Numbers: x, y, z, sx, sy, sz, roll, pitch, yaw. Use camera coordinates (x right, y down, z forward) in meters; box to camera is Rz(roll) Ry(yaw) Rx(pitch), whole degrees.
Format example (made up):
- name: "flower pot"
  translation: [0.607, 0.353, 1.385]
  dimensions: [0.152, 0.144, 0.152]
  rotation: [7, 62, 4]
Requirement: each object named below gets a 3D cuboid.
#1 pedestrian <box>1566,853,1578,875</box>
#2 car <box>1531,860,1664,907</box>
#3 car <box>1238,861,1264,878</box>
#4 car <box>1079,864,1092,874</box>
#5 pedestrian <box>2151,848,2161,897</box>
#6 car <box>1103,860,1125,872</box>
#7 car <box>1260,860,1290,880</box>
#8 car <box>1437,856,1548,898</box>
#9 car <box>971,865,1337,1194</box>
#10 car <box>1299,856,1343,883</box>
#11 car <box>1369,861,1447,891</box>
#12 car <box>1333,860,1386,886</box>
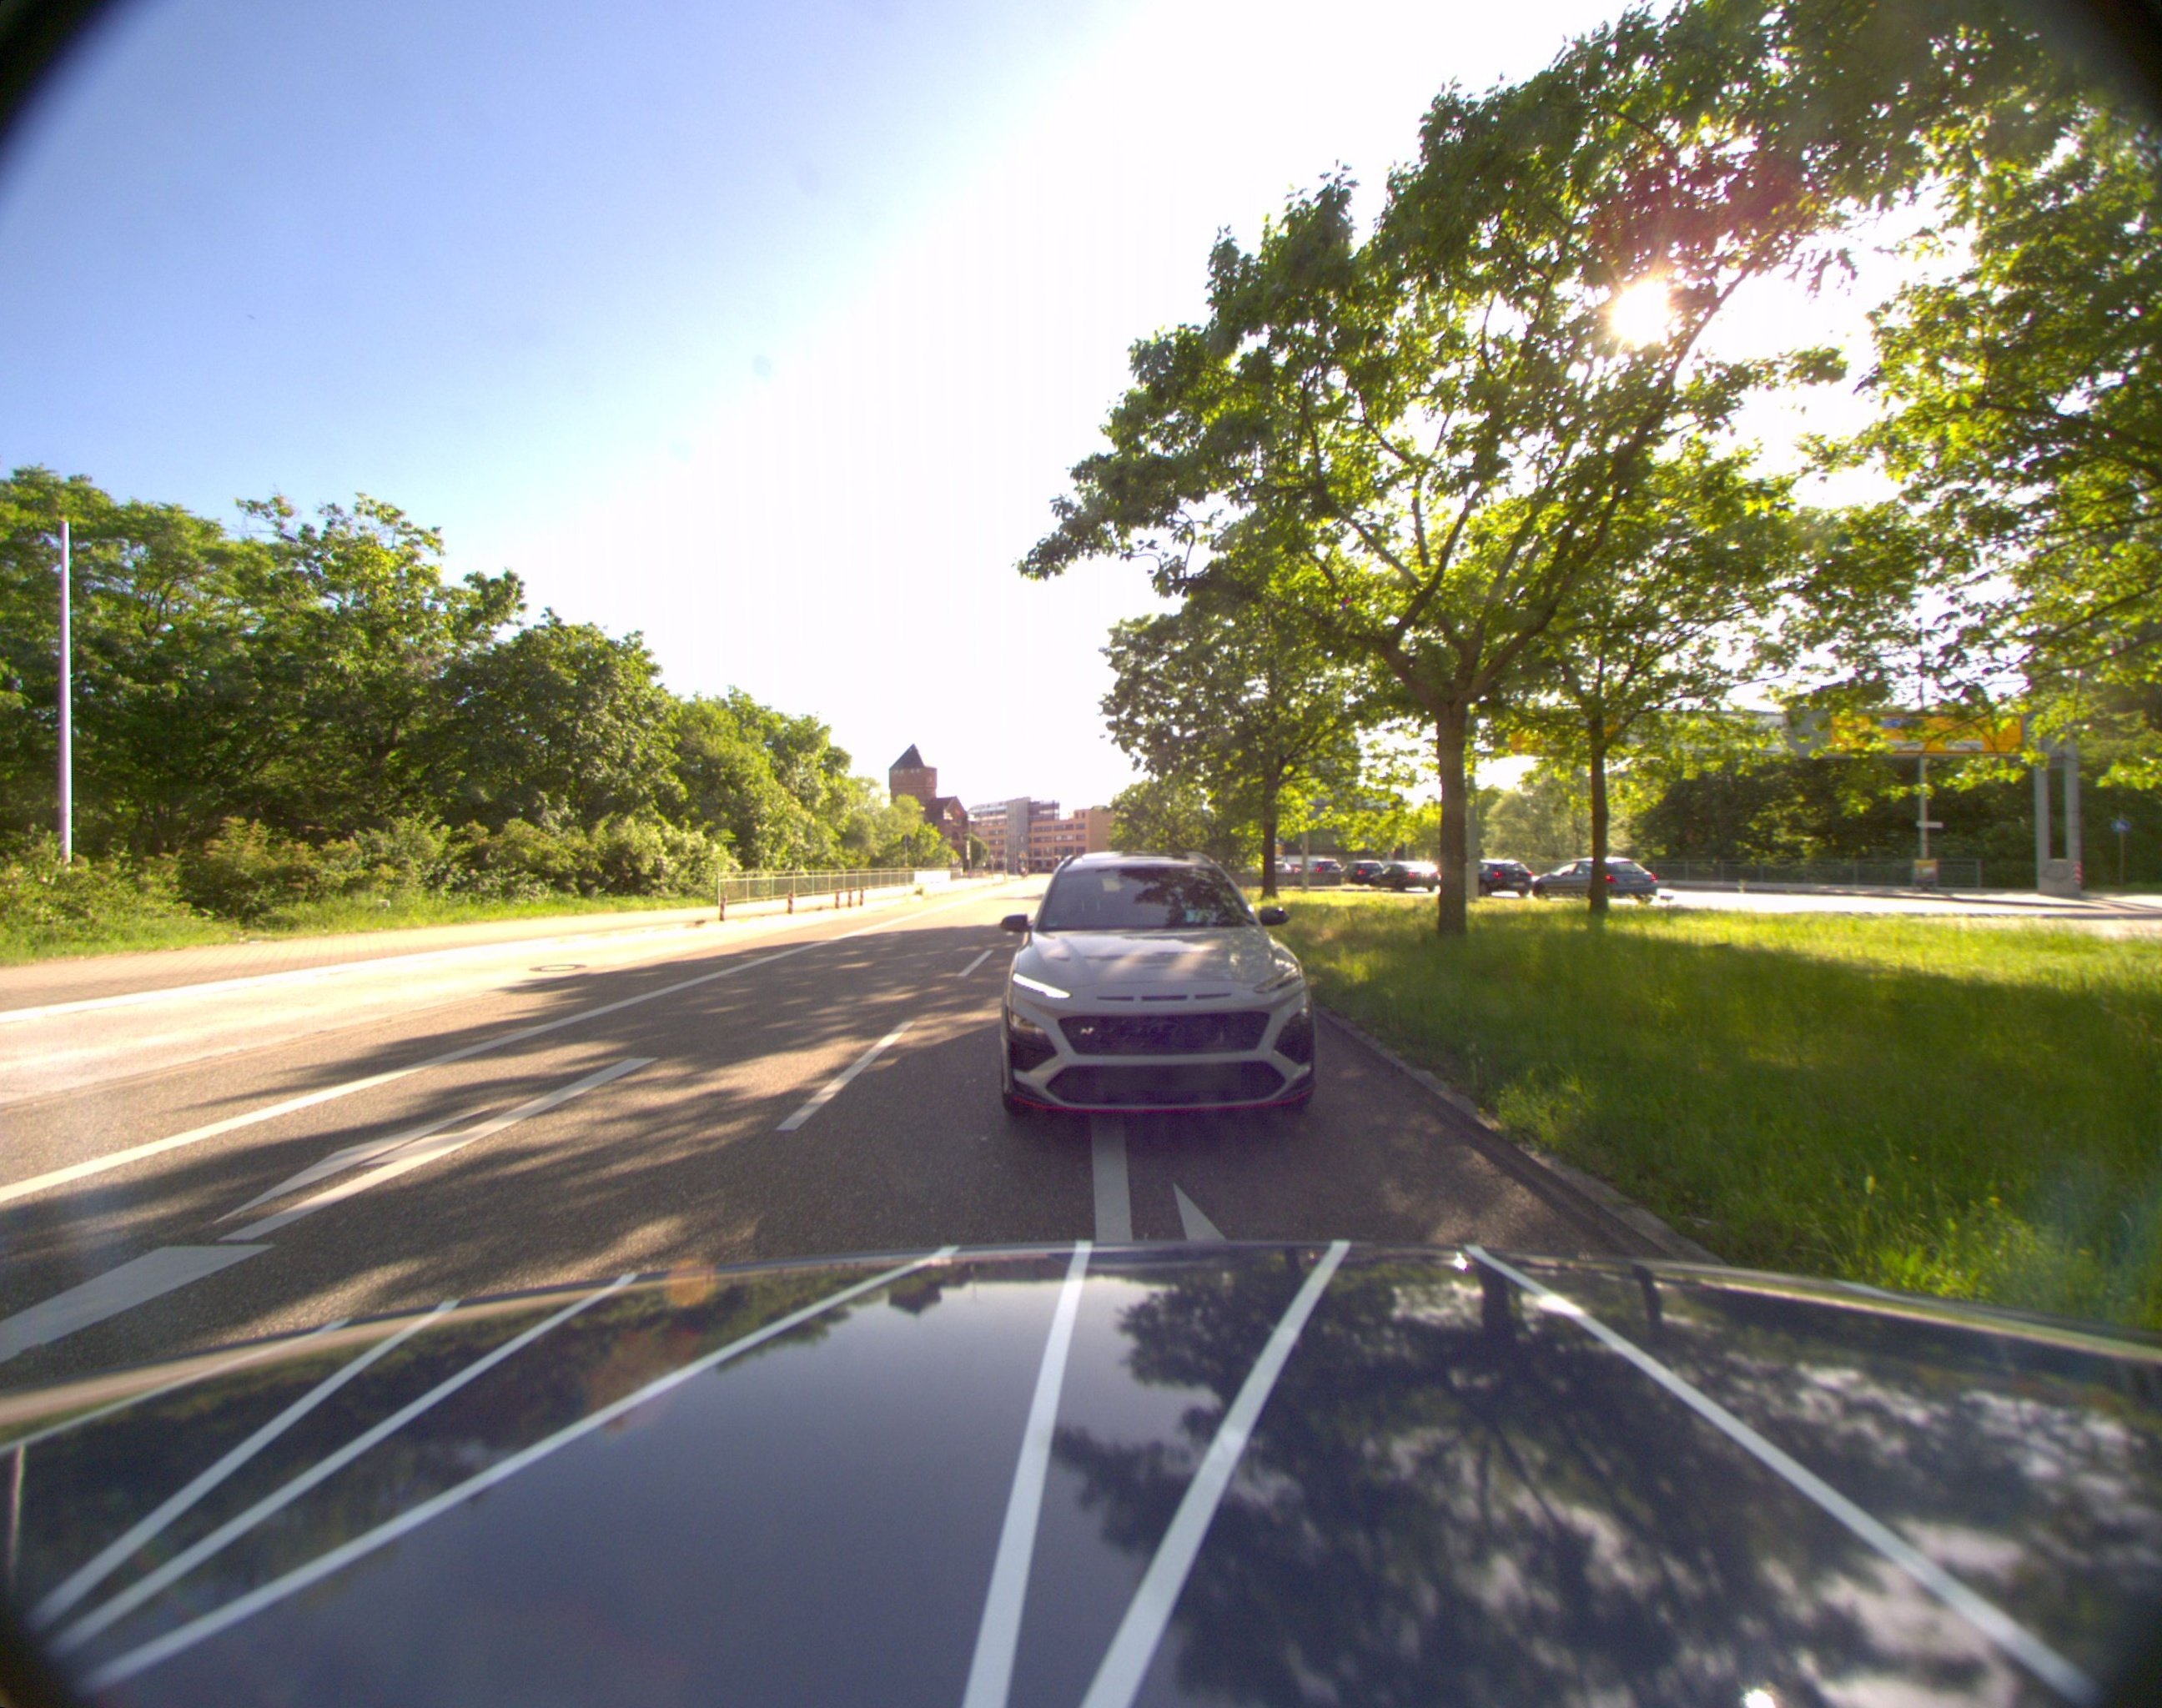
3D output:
- name: "pedestrian"
  translation: [32.746, 0.662, 50.647]
  dimensions: [0.421, 1.490, 0.545]
  rotation: [-1, 0, -7]
- name: "car"
  translation: [16.375, 0.887, 24.321]
  dimensions: [1.561, 1.355, 3.608]
  rotation: [-1, -1, -6]
- name: "car"
  translation: [13.927, 1.287, 62.414]
  dimensions: [1.199, 1.252, 2.768]
  rotation: [-1, -2, -6]
- name: "car"
  translation: [0.763, 2.371, 118.743]
  dimensions: [1.676, 1.463, 4.152]
  rotation: [-1, 0, 5]
- name: "pedestrian"
  translation: [36.312, 0.619, 24.990]
  dimensions: [0.914, 1.620, 0.988]
  rotation: [-1, 0, -7]
- name: "car"
  translation: [5.702, 1.998, 131.049]
  dimensions: [1.955, 2.002, 4.008]
  rotation: [-1, 0, 32]
- name: "car"
  translation: [14.311, 1.215, 56.153]
  dimensions: [1.228, 1.331, 2.882]
  rotation: [-1, -3, -6]
- name: "car"
  translation: [16.181, 0.850, 30.144]
  dimensions: [1.875, 1.541, 4.221]
  rotation: [-1, 0, -4]
- name: "car"
  translation: [0.382, 0.885, 5.683]
  dimensions: [1.752, 1.523, 3.988]
  rotation: [-1, 0, 1]
- name: "car"
  translation: [14.969, 0.996, 47.482]
  dimensions: [1.450, 1.549, 3.202]
  rotation: [-1, -2, -6]
- name: "car"
  translation: [15.468, 1.002, 36.217]
  dimensions: [1.623, 1.305, 4.066]
  rotation: [-1, 0, -6]
- name: "car"
  translation: [15.144, 1.038, 41.474]
  dimensions: [1.481, 1.331, 3.202]
  rotation: [-1, -1, -6]
